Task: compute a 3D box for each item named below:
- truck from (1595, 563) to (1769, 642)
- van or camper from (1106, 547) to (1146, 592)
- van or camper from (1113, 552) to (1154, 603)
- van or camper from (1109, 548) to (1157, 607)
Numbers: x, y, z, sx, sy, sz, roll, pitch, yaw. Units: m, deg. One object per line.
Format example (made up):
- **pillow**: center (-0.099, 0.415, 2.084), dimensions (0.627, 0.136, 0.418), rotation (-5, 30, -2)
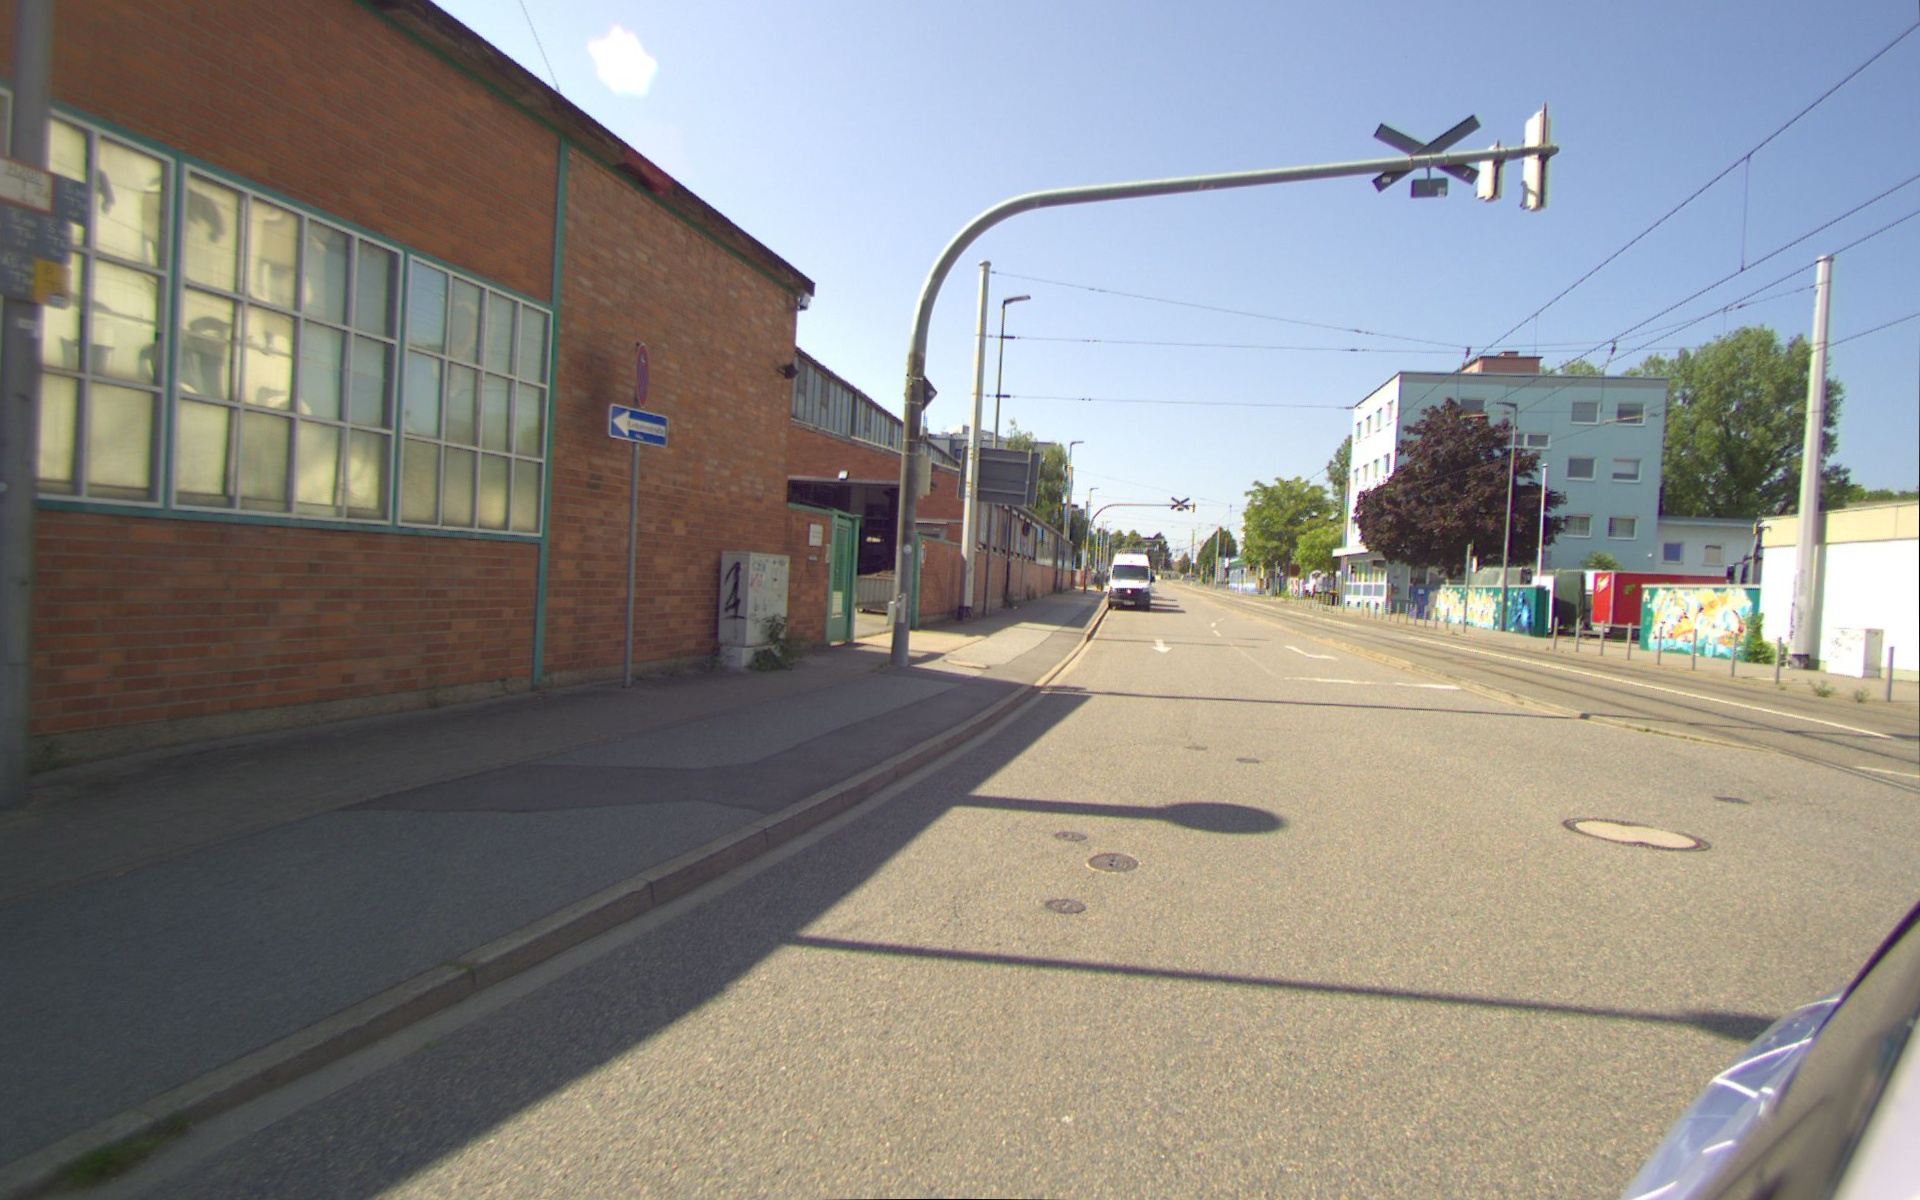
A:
- **truck**: center (27.279, 0.053, 38.468), dimensions (4.767, 2.658, 2.179), rotation (3, 2, 16)
- **van or camper**: center (11.453, -2.082, 70.143), dimensions (2.483, 2.820, 7.100), rotation (3, 2, 9)
- **van or camper**: center (9.501, -1.264, 55.540), dimensions (2.011, 2.565, 5.568), rotation (3, 2, 9)
- **van or camper**: center (8.199, -1.088, 48.146), dimensions (2.011, 2.565, 5.854), rotation (3, 2, 9)
